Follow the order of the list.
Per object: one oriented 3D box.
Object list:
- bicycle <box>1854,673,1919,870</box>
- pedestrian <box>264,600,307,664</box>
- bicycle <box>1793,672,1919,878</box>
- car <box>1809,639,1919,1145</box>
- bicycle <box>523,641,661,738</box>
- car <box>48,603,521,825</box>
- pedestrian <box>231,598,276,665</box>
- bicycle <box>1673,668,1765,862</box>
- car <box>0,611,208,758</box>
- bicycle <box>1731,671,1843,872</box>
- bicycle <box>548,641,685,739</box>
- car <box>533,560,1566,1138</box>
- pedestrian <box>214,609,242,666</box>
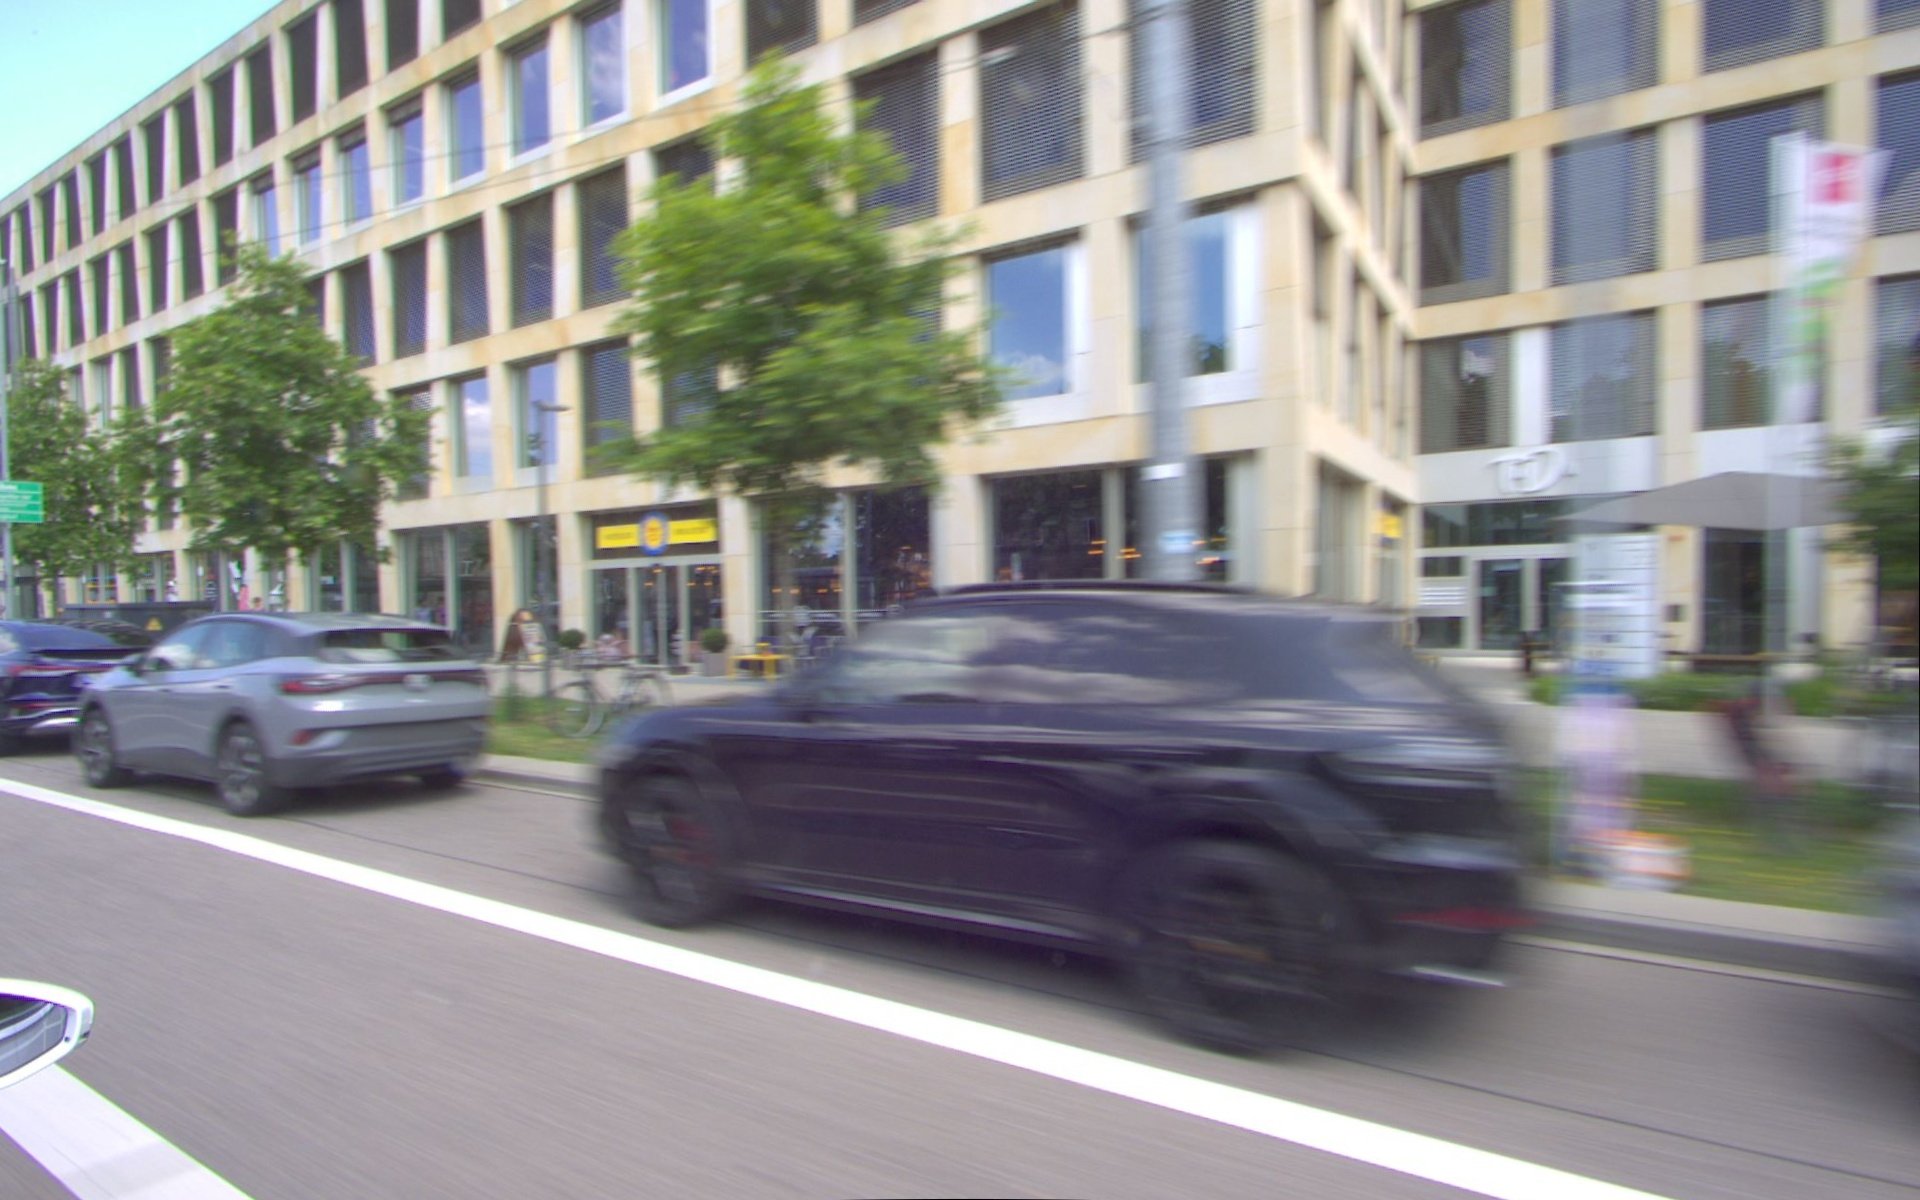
[{"bbox_3d":[5.916,1.013,6.159,0.321,0.999,1.749,0,1,32],"label":"bicycle"},{"bbox_3d":[-18.397,0.861,27.321,0.650,1.692,0.758,0,1,32],"label":"pedestrian"},{"bbox_3d":[5.613,1.018,6.312,0.321,0.999,1.749,0,1,32],"label":"bicycle"},{"bbox_3d":[4.795,0.843,2.352,4.047,1.453,1.589,0,-2,31],"label":"car"},{"bbox_3d":[-4.686,1.115,12.881,0.335,1.044,1.835,0,2,31],"label":"bicycle"},{"bbox_3d":[-6.381,0.875,9.297,4.769,1.612,1.805,0,-2,31],"label":"car"},{"bbox_3d":[-18.805,0.829,26.660,0.650,1.746,0.758,0,1,32],"label":"pedestrian"},{"bbox_3d":[4.999,1.017,6.646,0.321,0.999,1.749,0,1,32],"label":"bicycle"},{"bbox_3d":[-11.723,0.977,12.942,4.243,1.612,1.804,0,-2,32],"label":"car"},{"bbox_3d":[5.289,1.024,6.462,0.321,0.999,1.749,0,1,32],"label":"bicycle"},{"bbox_3d":[-4.337,1.106,12.772,0.335,1.044,1.835,0,2,31],"label":"bicycle"},{"bbox_3d":[0.180,0.776,4.930,4.769,1.691,1.736,0,-2,31],"label":"car"},{"bbox_3d":[-19.107,0.960,26.128,0.427,1.468,0.438,0,1,32],"label":"pedestrian"}]
